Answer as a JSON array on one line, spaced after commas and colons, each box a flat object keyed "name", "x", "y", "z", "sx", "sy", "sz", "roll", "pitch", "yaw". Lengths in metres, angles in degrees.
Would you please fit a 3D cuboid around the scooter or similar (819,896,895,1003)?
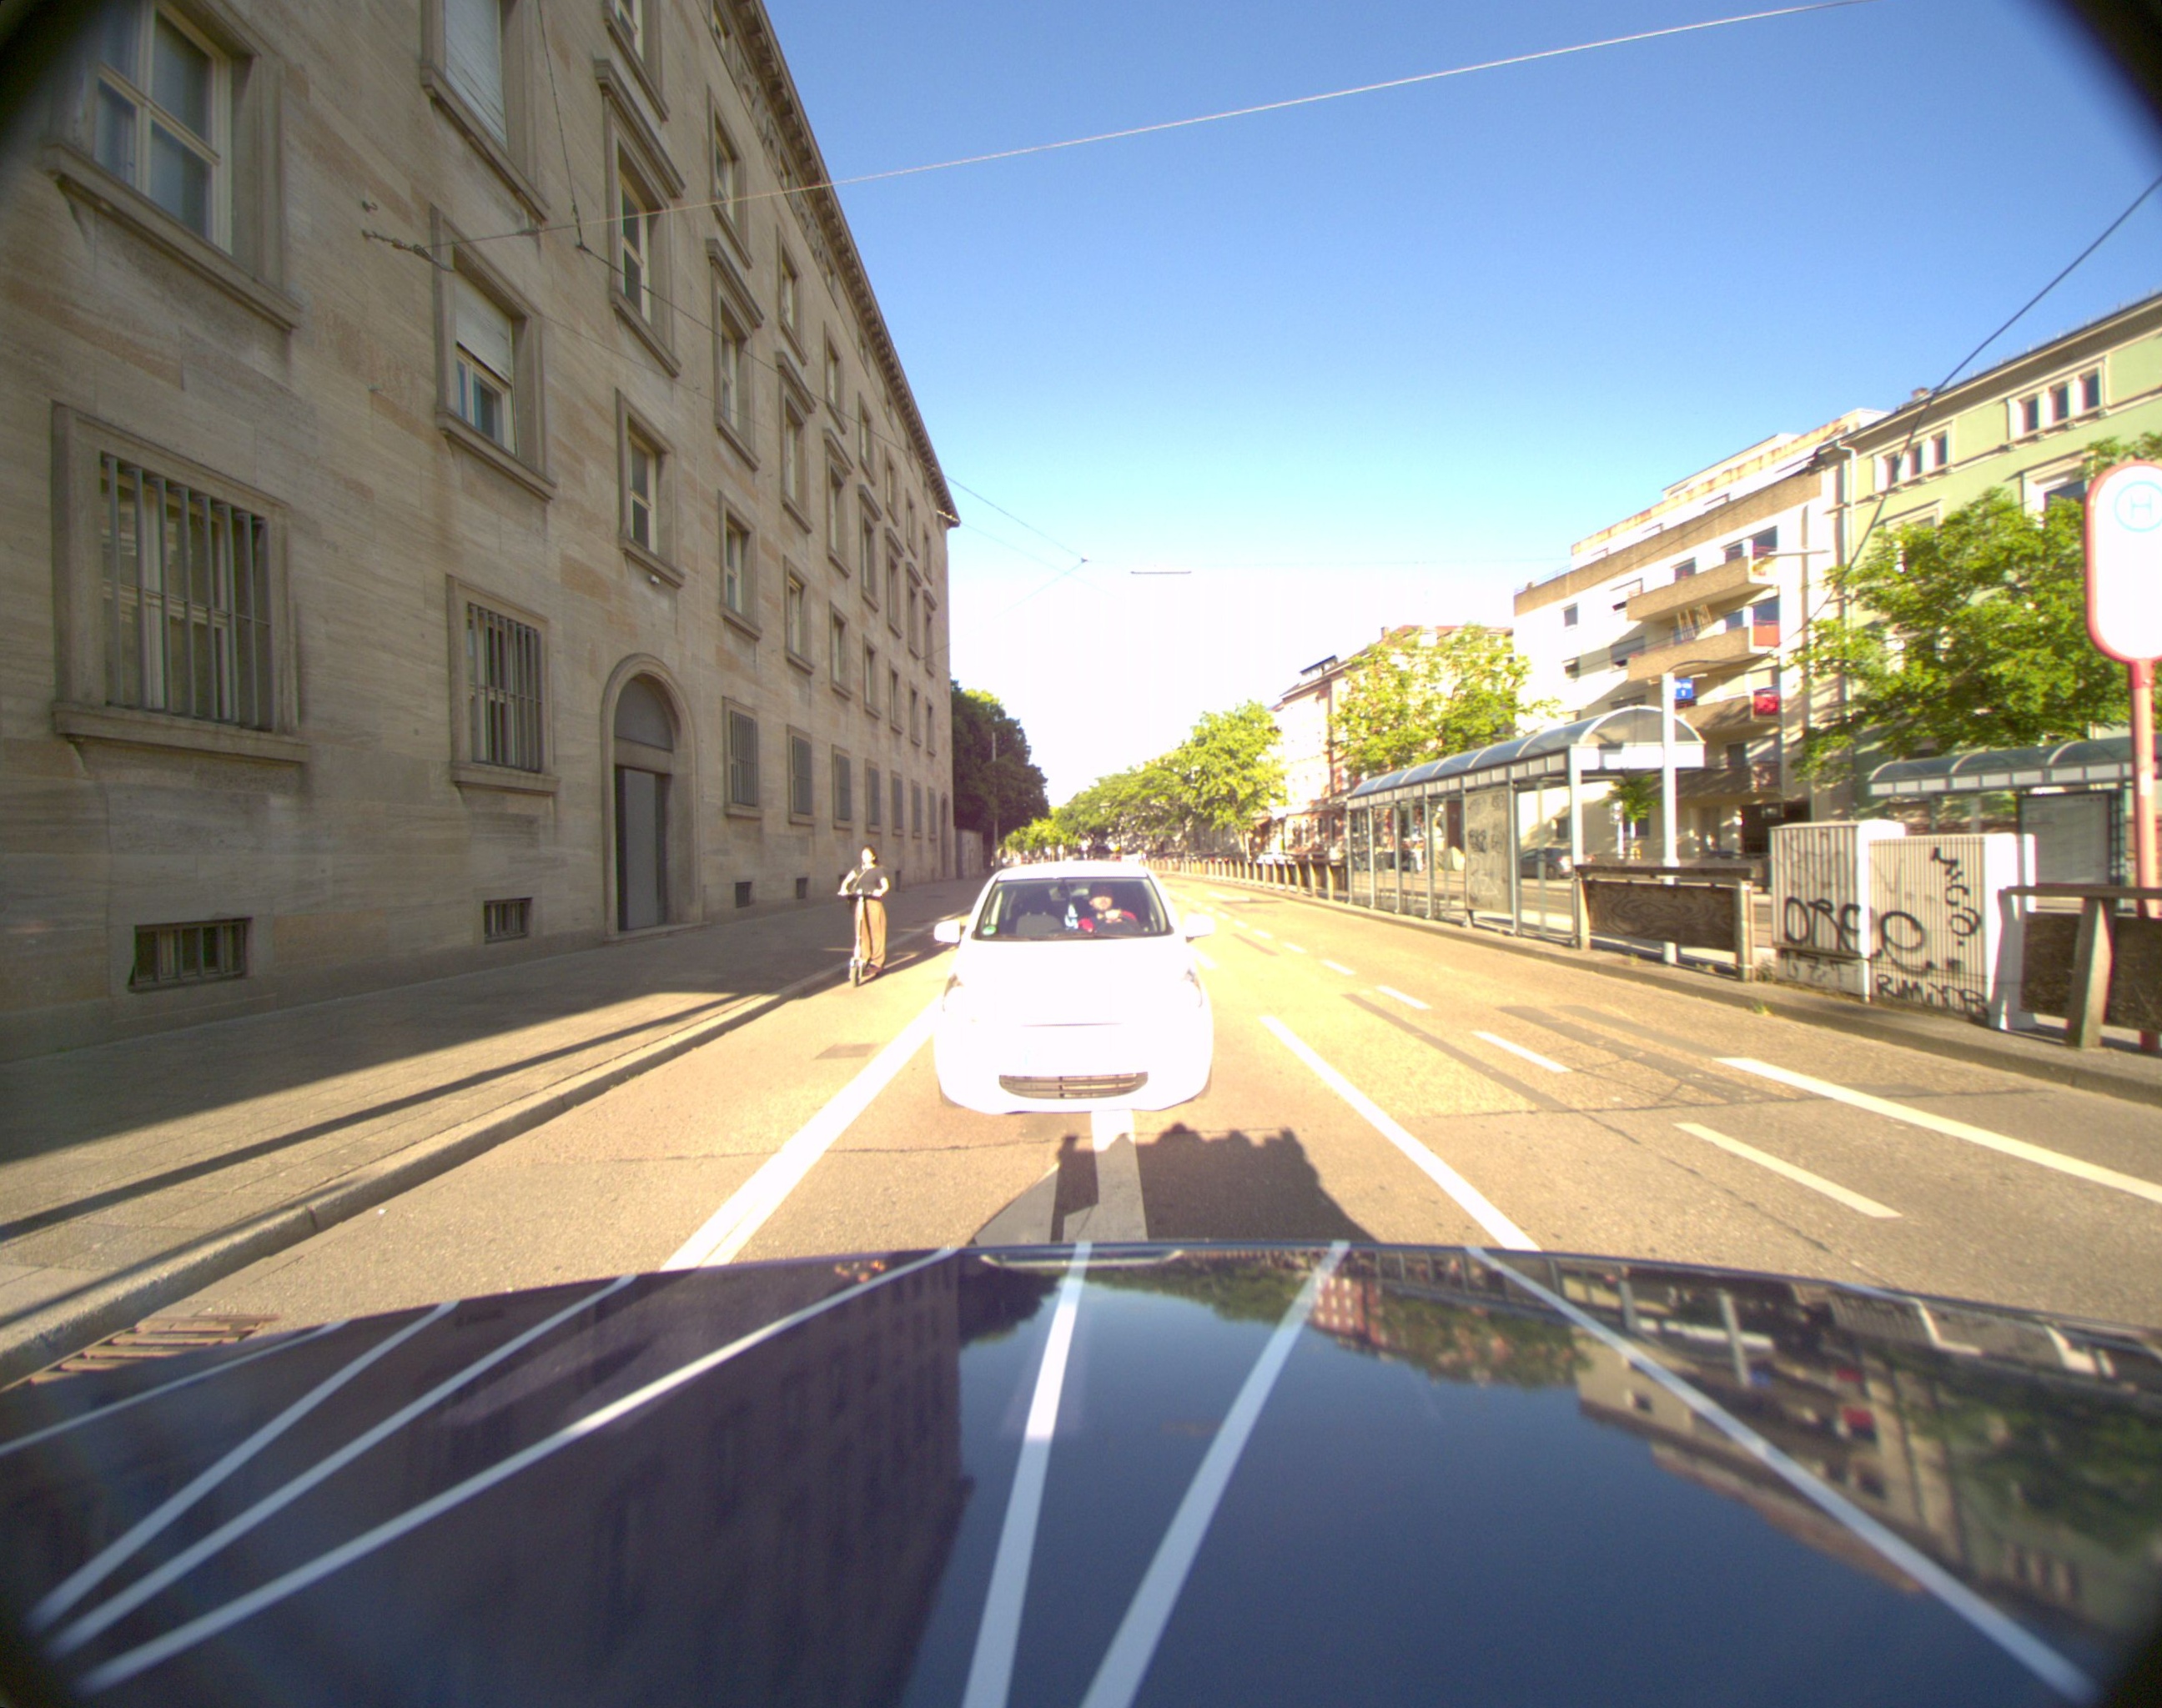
[{"name": "scooter or similar", "x": -2.786, "y": 1.155, "z": 9.569, "sx": 0.536, "sy": 1.178, "sz": 1.328, "roll": -1, "pitch": 0, "yaw": 0}]

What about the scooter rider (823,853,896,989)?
[{"name": "scooter rider", "x": -2.799, "y": 0.824, "z": 9.638, "sx": 0.731, "sy": 1.661, "sz": 0.556, "roll": -1, "pitch": 1, "yaw": -1}]

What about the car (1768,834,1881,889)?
[{"name": "car", "x": 23.886, "y": 0.224, "z": 24.389, "sx": 3.605, "sy": 1.558, "sz": 1.627, "roll": -3, "pitch": 1, "yaw": -29}]

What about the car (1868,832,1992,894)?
[{"name": "car", "x": 24.465, "y": 0.230, "z": 21.877, "sx": 3.605, "sy": 1.558, "sz": 1.627, "roll": -3, "pitch": 1, "yaw": -29}]

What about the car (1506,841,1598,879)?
[{"name": "car", "x": 20.917, "y": 0.230, "z": 33.919, "sx": 1.631, "sy": 1.558, "sz": 3.598, "roll": -2, "pitch": 1, "yaw": -5}]

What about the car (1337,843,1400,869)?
[{"name": "car", "x": 19.545, "y": 0.122, "z": 51.709, "sx": 3.599, "sy": 1.558, "sz": 1.630, "roll": -2, "pitch": 1, "yaw": -7}]

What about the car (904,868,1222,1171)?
[{"name": "car", "x": -0.071, "y": 0.904, "z": 5.794, "sx": 1.612, "sy": 1.462, "sz": 3.631, "roll": -2, "pitch": 0, "yaw": 1}]

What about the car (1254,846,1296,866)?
[{"name": "car", "x": 16.259, "y": 0.152, "z": 63.463, "sx": 3.607, "sy": 1.558, "sz": 1.627, "roll": -3, "pitch": 1, "yaw": -42}]
